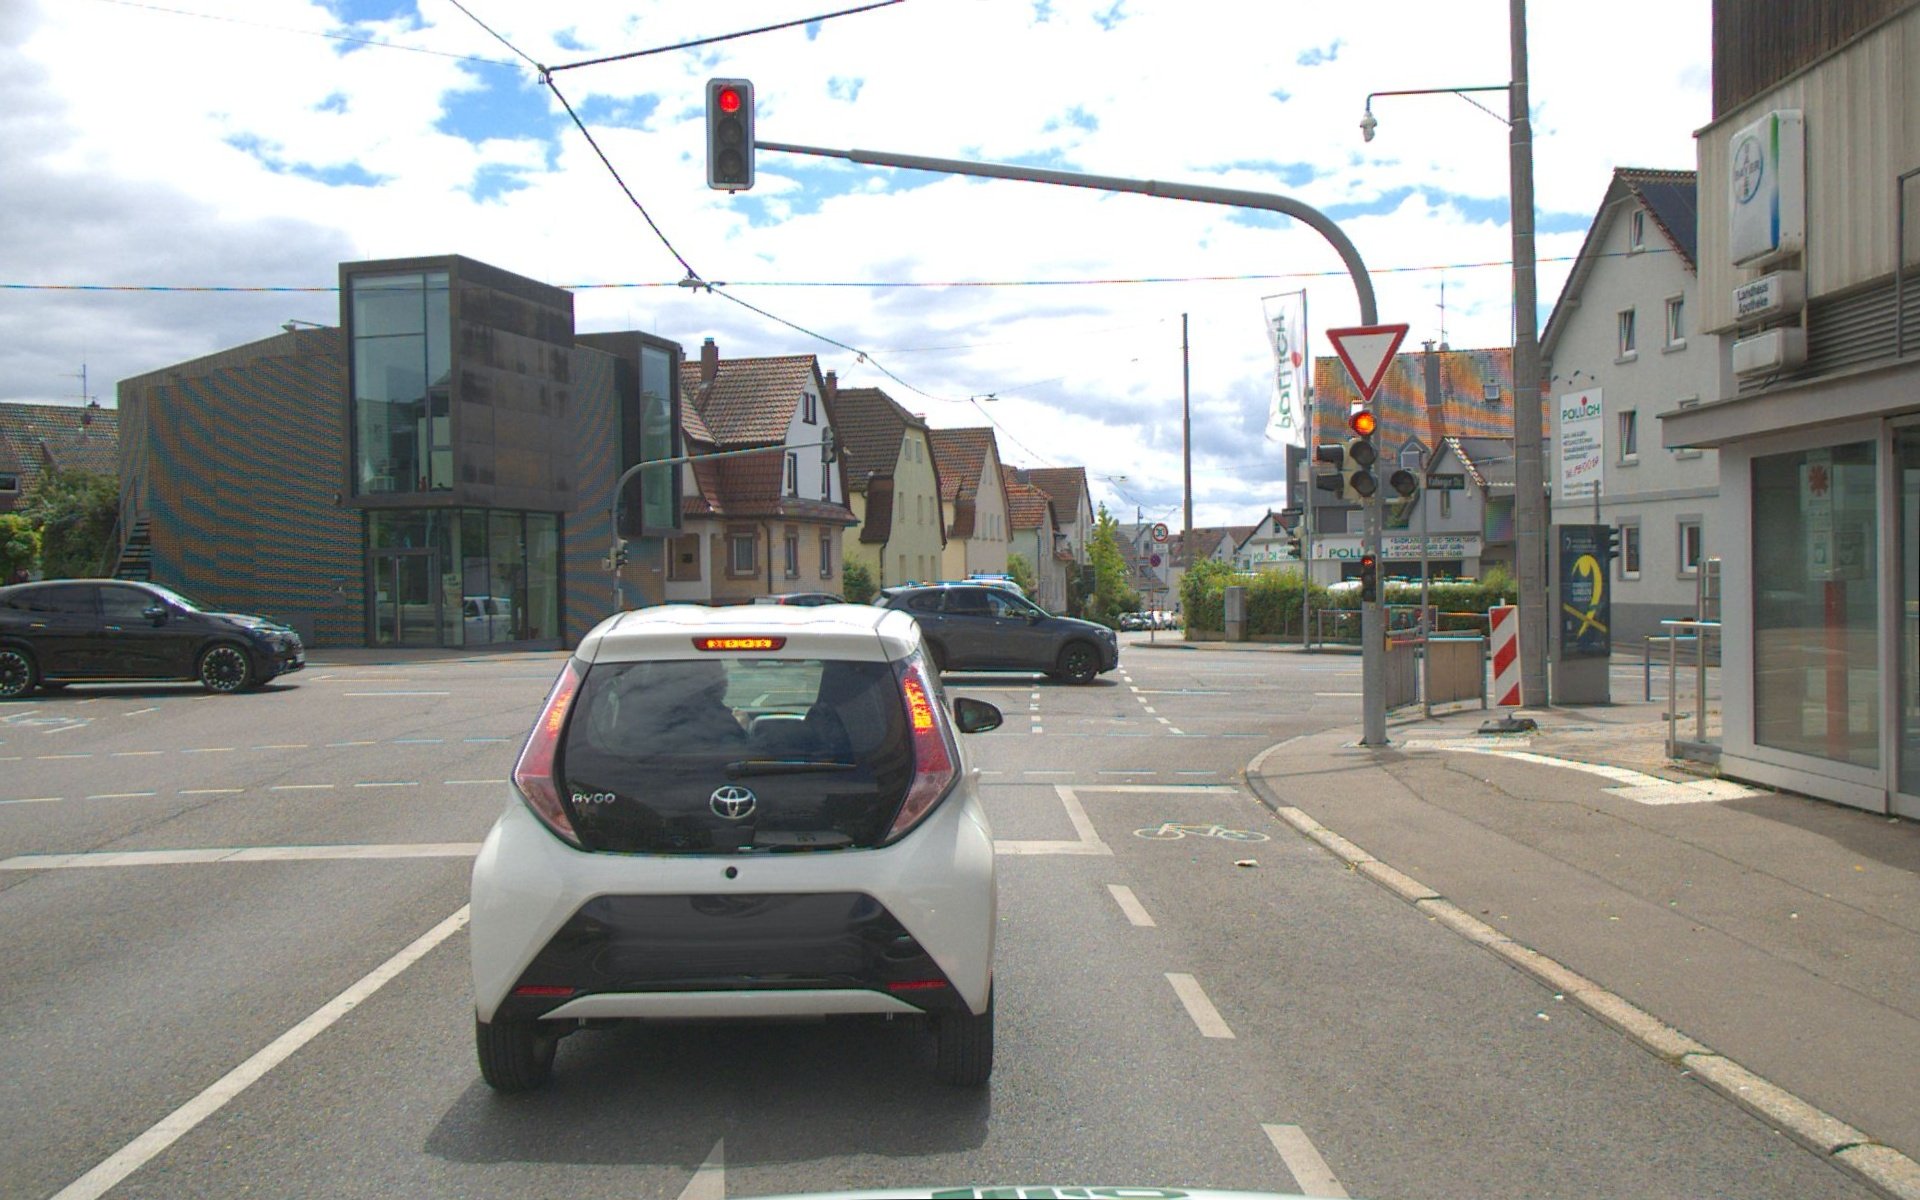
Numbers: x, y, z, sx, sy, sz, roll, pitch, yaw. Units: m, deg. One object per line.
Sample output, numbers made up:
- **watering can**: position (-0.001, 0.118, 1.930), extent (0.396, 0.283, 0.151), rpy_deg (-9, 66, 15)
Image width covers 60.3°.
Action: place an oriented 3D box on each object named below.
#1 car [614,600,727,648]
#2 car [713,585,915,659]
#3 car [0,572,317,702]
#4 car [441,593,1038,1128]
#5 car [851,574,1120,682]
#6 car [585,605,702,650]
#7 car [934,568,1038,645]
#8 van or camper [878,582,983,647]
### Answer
- **car**: position (-10.265, 0.835, 58.711), extent (3.537, 1.633, 1.693), rpy_deg (1, 0, 11)
- **car**: position (-3.146, 0.475, 35.985), extent (3.959, 1.512, 1.973), rpy_deg (1, 0, -38)
- **car**: position (-12.337, 0.512, 25.101), extent (4.417, 1.773, 1.996), rpy_deg (-1, 2, -10)
- **car**: position (-0.684, 0.719, 6.289), extent (1.663, 1.482, 3.297), rpy_deg (0, 0, -3)
- **car**: position (0.386, 0.437, 27.800), extent (4.216, 1.705, 1.994), rpy_deg (-1, 0, -12)
- **car**: position (-10.805, 0.926, 56.579), extent (3.537, 1.444, 1.693), rpy_deg (1, 0, 11)
- **car**: position (0.740, 0.160, 43.382), extent (1.951, 1.881, 4.076), rpy_deg (1, 0, 12)
- **van or camper**: position (-0.892, 0.443, 53.752), extent (2.070, 1.959, 5.289), rpy_deg (1, 0, 14)
